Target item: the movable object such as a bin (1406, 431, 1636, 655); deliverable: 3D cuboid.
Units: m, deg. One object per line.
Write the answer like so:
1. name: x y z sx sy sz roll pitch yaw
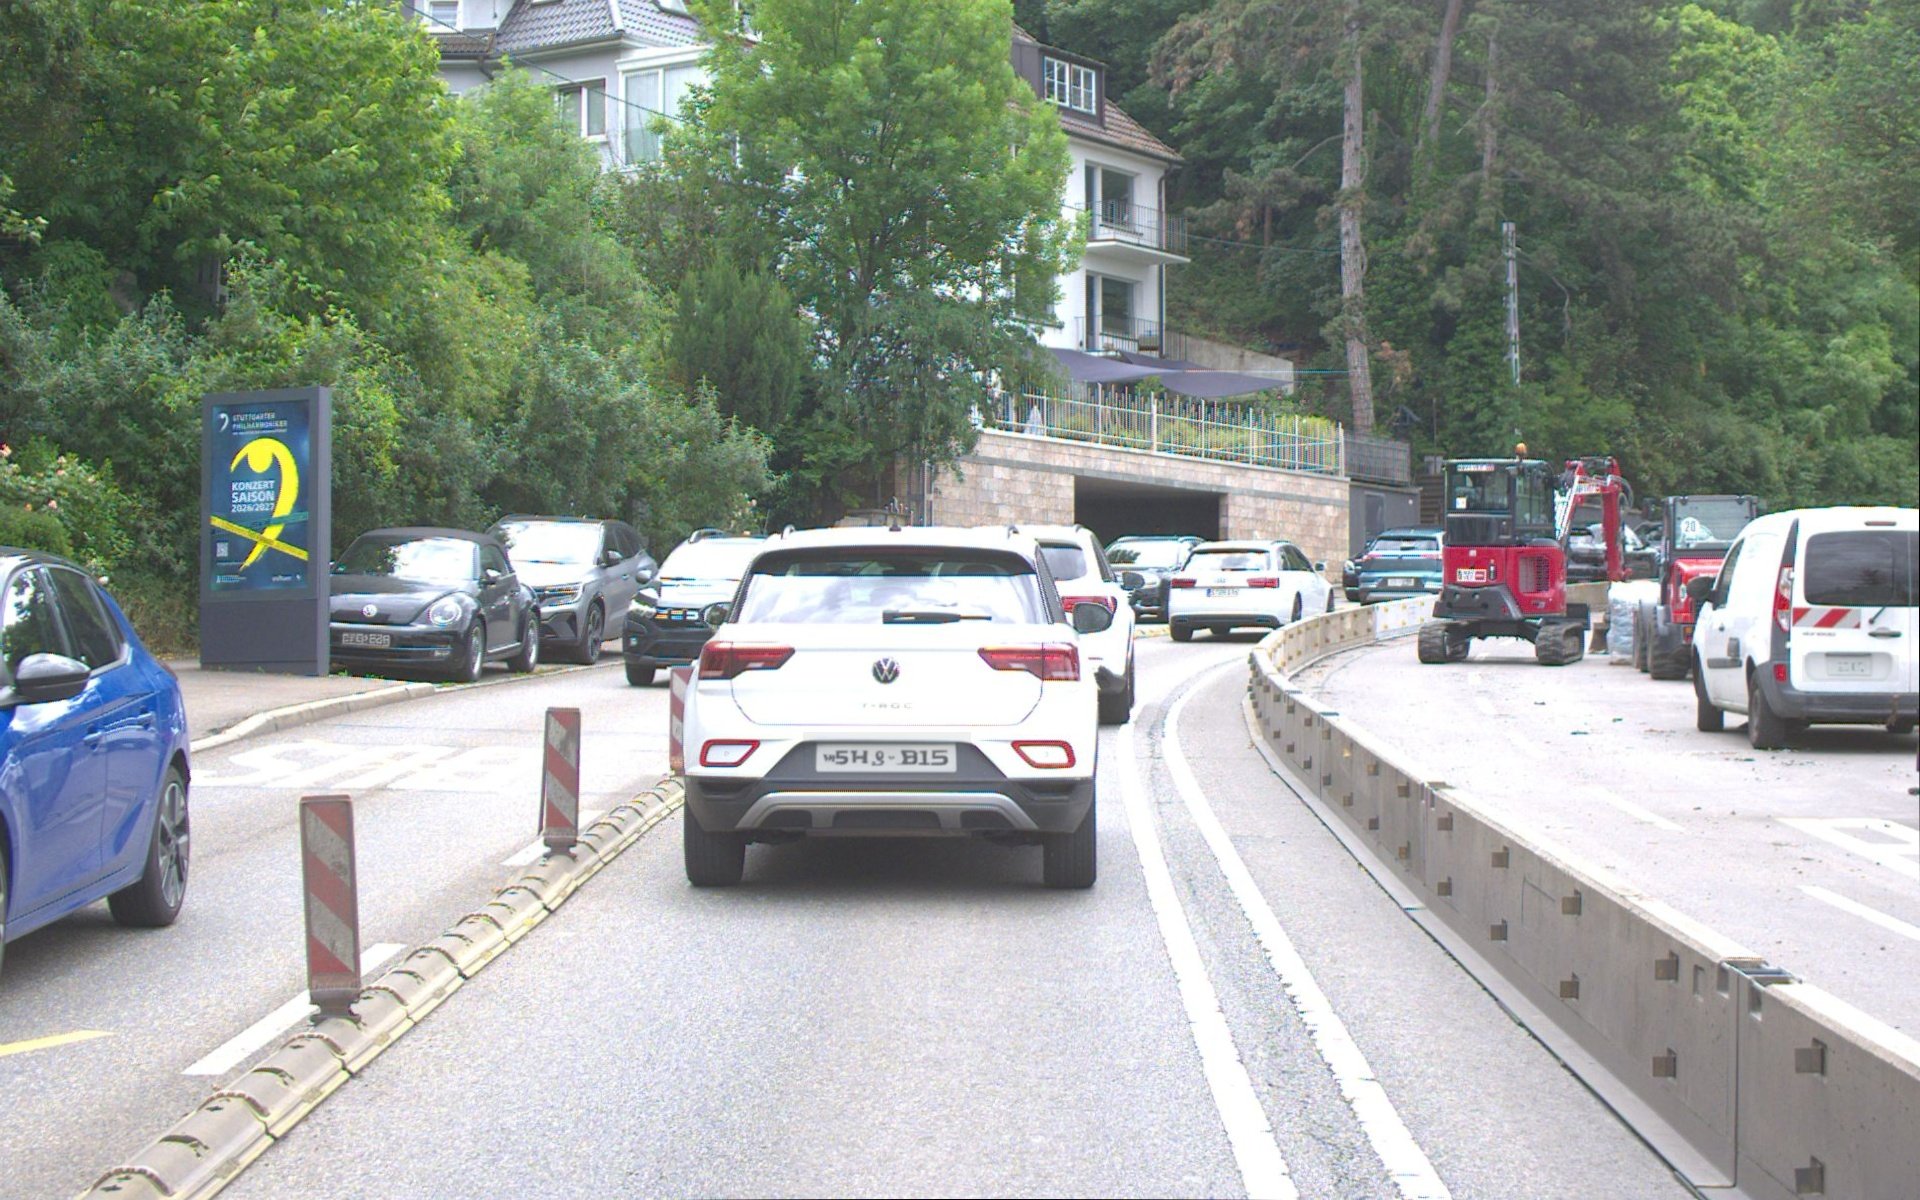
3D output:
1. movable object such as a bin: 7.143 -0.749 43.380 2.213 2.653 4.941 1 2 17

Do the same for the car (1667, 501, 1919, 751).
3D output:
1. car: 6.687 0.131 26.571 1.833 1.773 4.268 0 1 4

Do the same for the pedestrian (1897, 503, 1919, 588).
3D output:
1. pedestrian: 19.050 -1.079 67.927 0.784 1.682 0.783 0 2 38

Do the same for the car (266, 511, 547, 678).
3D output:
1. car: -5.478 -0.095 34.507 1.794 1.505 3.999 3 1 5

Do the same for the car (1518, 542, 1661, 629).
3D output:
1. car: 13.024 -0.318 70.971 1.812 1.657 3.994 -1 1 27

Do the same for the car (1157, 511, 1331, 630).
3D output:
1. car: 4.243 -0.459 50.823 1.811 1.657 3.997 -1 1 16

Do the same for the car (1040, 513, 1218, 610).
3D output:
1. car: 2.939 -0.692 58.934 1.797 1.441 4.358 2 4 20

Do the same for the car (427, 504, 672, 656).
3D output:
1. car: -4.688 -0.259 39.838 1.687 1.600 4.185 3 1 9

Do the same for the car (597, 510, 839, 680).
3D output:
1. car: -2.425 -0.090 35.373 1.815 1.616 3.818 1 1 6

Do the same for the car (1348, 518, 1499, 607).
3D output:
1. car: 8.369 -0.688 61.871 1.796 1.505 3.996 -1 1 21

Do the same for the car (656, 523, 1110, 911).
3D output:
1. car: -0.364 0.429 15.872 1.809 1.526 4.001 1 1 -2

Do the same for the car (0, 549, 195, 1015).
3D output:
1. car: -3.811 0.545 11.410 1.726 1.415 3.821 0 1 0

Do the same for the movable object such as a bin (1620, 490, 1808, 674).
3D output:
1. movable object such as a bin: 8.373 -0.245 38.453 1.702 1.936 4.164 0 2 8

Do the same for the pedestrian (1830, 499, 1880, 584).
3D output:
1. pedestrian: 18.254 -1.195 70.125 0.877 1.725 0.877 0 1 22

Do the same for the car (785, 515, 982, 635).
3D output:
1. car: -0.968 -0.341 46.026 1.796 1.477 4.327 2 1 10

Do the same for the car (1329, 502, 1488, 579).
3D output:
1. car: 9.532 -1.278 72.849 1.770 1.562 4.222 2 2 31

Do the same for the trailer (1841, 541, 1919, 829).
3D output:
1. trailer: 5.718 0.434 18.647 1.289 1.470 3.633 0 1 6

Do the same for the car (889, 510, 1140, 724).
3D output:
1. car: 0.534 0.092 29.116 1.810 1.657 4.000 -1 1 5

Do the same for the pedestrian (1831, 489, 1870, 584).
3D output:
1. pedestrian: 17.891 -1.276 69.081 0.690 1.900 0.825 0 1 10

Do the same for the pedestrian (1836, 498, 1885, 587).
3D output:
1. pedestrian: 18.615 -1.187 71.054 0.877 1.816 0.877 0 1 22
